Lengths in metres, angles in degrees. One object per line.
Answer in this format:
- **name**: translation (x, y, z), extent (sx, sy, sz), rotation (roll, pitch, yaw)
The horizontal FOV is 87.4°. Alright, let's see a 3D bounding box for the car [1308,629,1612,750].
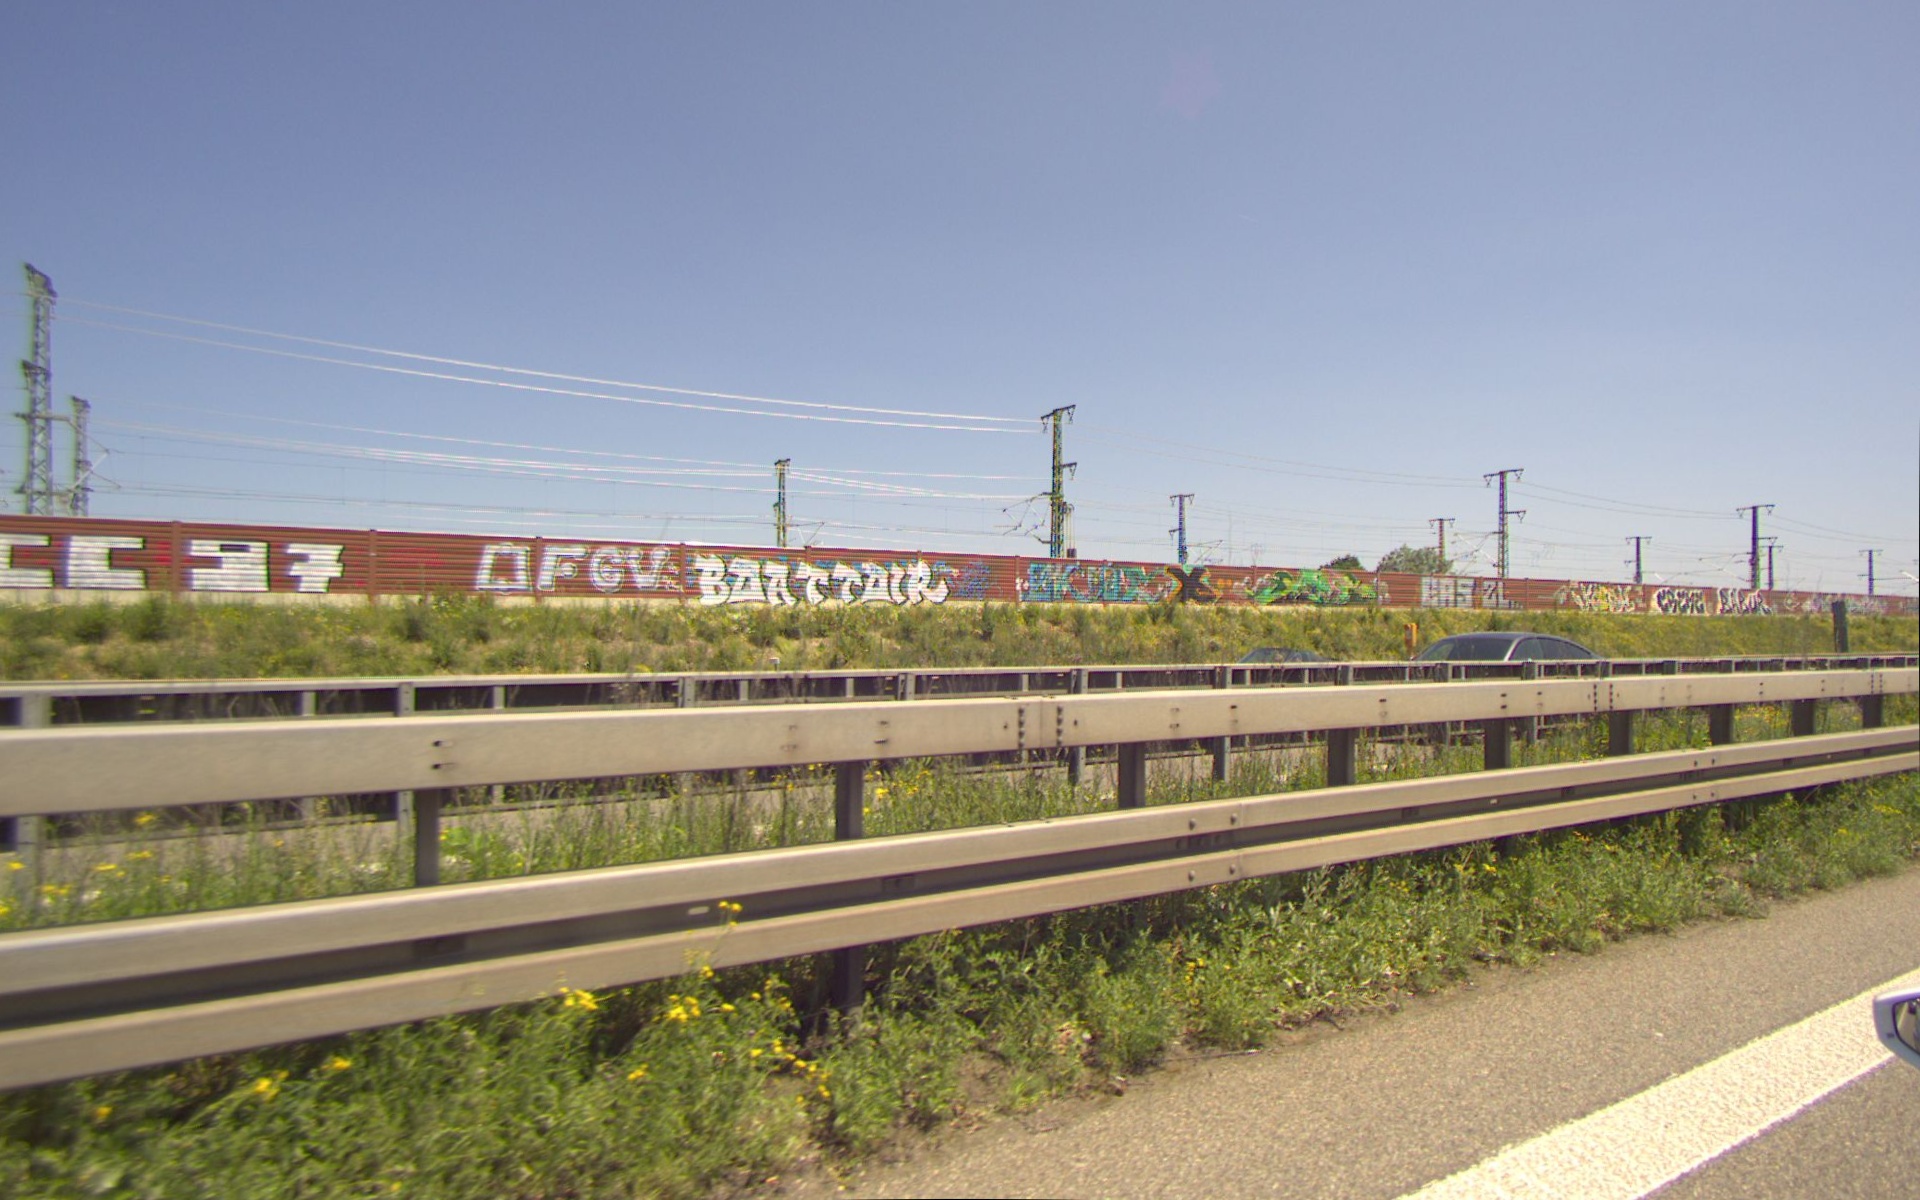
- **car**: translation (7.190, 1.202, 14.384), extent (4.106, 1.506, 1.984), rotation (2, -3, -30)

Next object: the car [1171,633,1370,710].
- **car**: translation (6.652, 1.492, 21.470), extent (3.885, 1.506, 1.984), rotation (2, -3, -30)
